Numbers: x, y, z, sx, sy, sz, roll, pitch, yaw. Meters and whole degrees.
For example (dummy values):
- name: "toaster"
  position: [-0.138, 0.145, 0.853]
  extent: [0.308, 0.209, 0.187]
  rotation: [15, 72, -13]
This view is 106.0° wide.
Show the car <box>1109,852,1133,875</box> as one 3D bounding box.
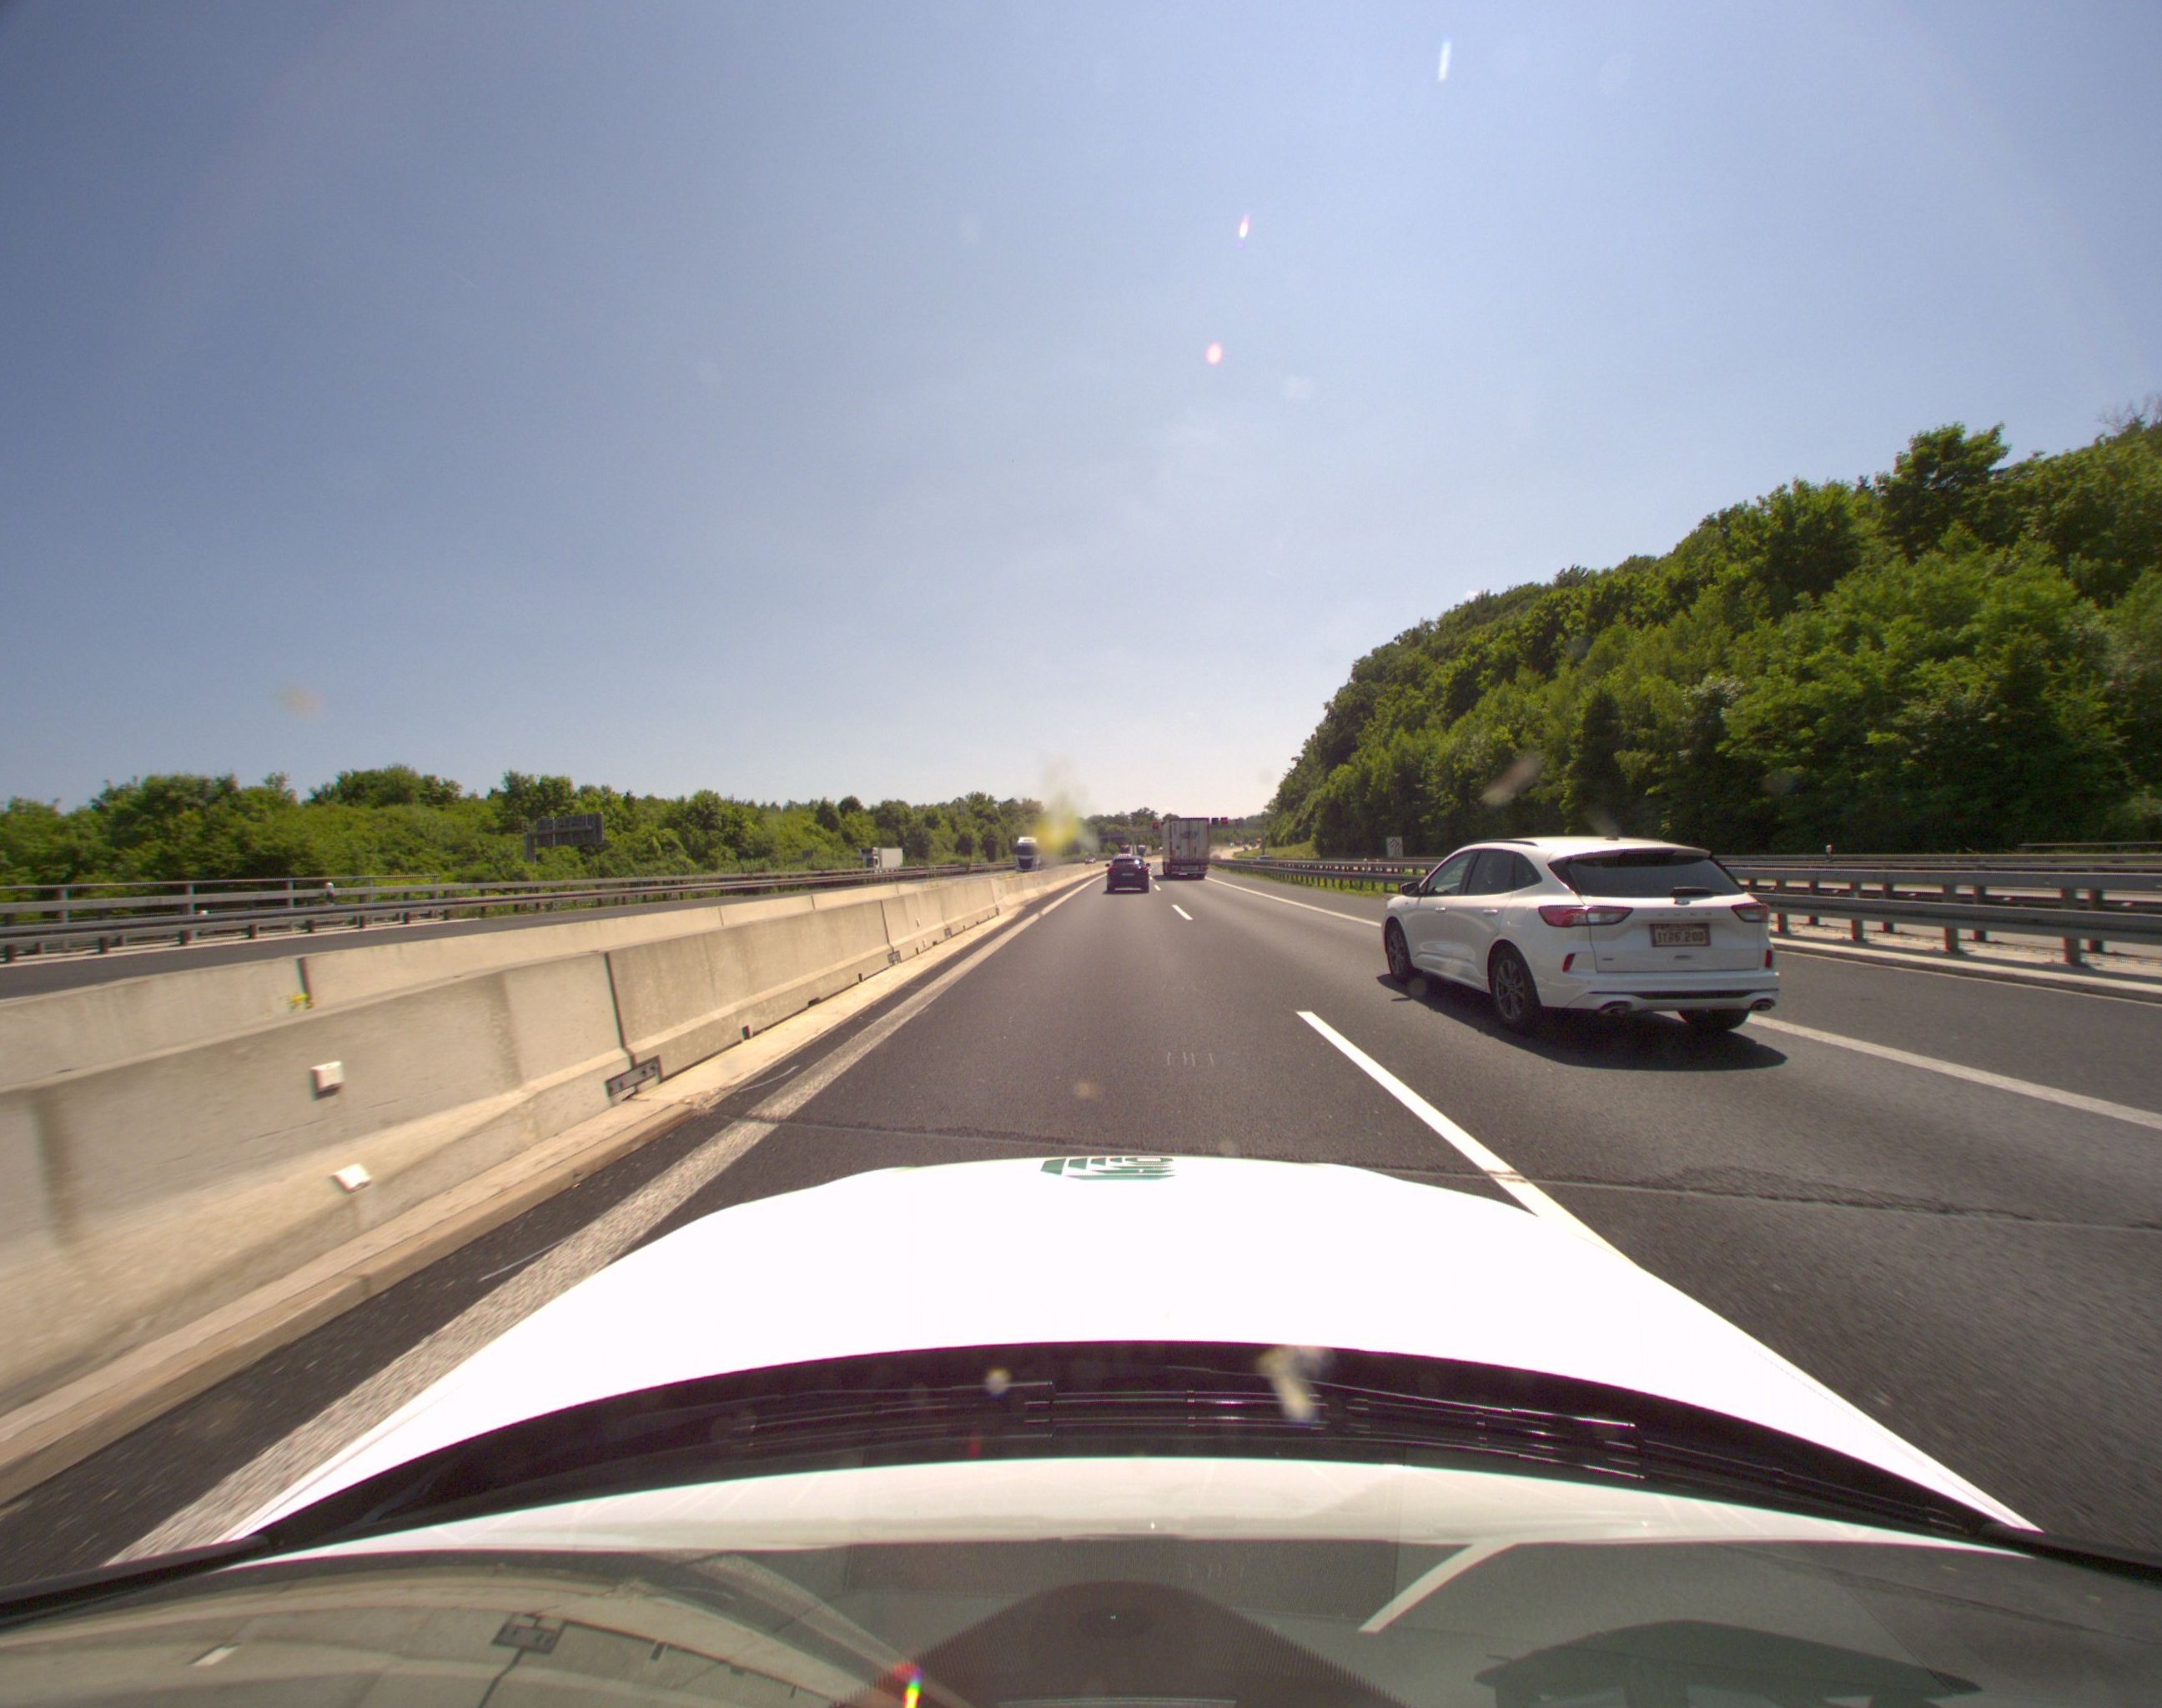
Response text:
- name: "car"
  position: [3.921, 0.903, 79.883]
  extent: [1.987, 2.013, 3.999]
  rotation: [-4, 0, 0]

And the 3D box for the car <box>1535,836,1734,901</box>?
- name: "car"
  position: [15.964, 0.425, 23.986]
  extent: [1.987, 1.662, 5.625]
  rotation: [-1, -1, 0]

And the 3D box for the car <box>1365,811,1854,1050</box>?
- name: "car"
  position: [4.559, 0.584, 8.073]
  extent: [1.986, 1.662, 4.468]
  rotation: [-1, -1, 1]

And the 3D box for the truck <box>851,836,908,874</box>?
- name: "truck"
  position: [-22.509, 0.187, 91.644]
  extent: [2.684, 3.960, 10.794]
  rotation: [-1, -1, 6]

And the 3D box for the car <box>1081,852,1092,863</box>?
- name: "car"
  position: [1.026, 0.605, 153.325]
  extent: [1.987, 2.013, 3.999]
  rotation: [-1, 0, -1]

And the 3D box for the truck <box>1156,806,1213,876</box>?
- name: "truck"
  position: [7.190, -0.720, 58.314]
  extent: [3.019, 4.418, 12.026]
  rotation: [-1, -1, 3]

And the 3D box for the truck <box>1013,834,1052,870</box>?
- name: "truck"
  position: [-5.593, -0.141, 96.097]
  extent: [2.684, 3.960, 10.794]
  rotation: [-1, -1, 6]

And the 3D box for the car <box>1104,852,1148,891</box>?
- name: "car"
  position: [1.993, 0.762, 35.819]
  extent: [1.772, 1.577, 4.003]
  rotation: [-1, -1, 4]
